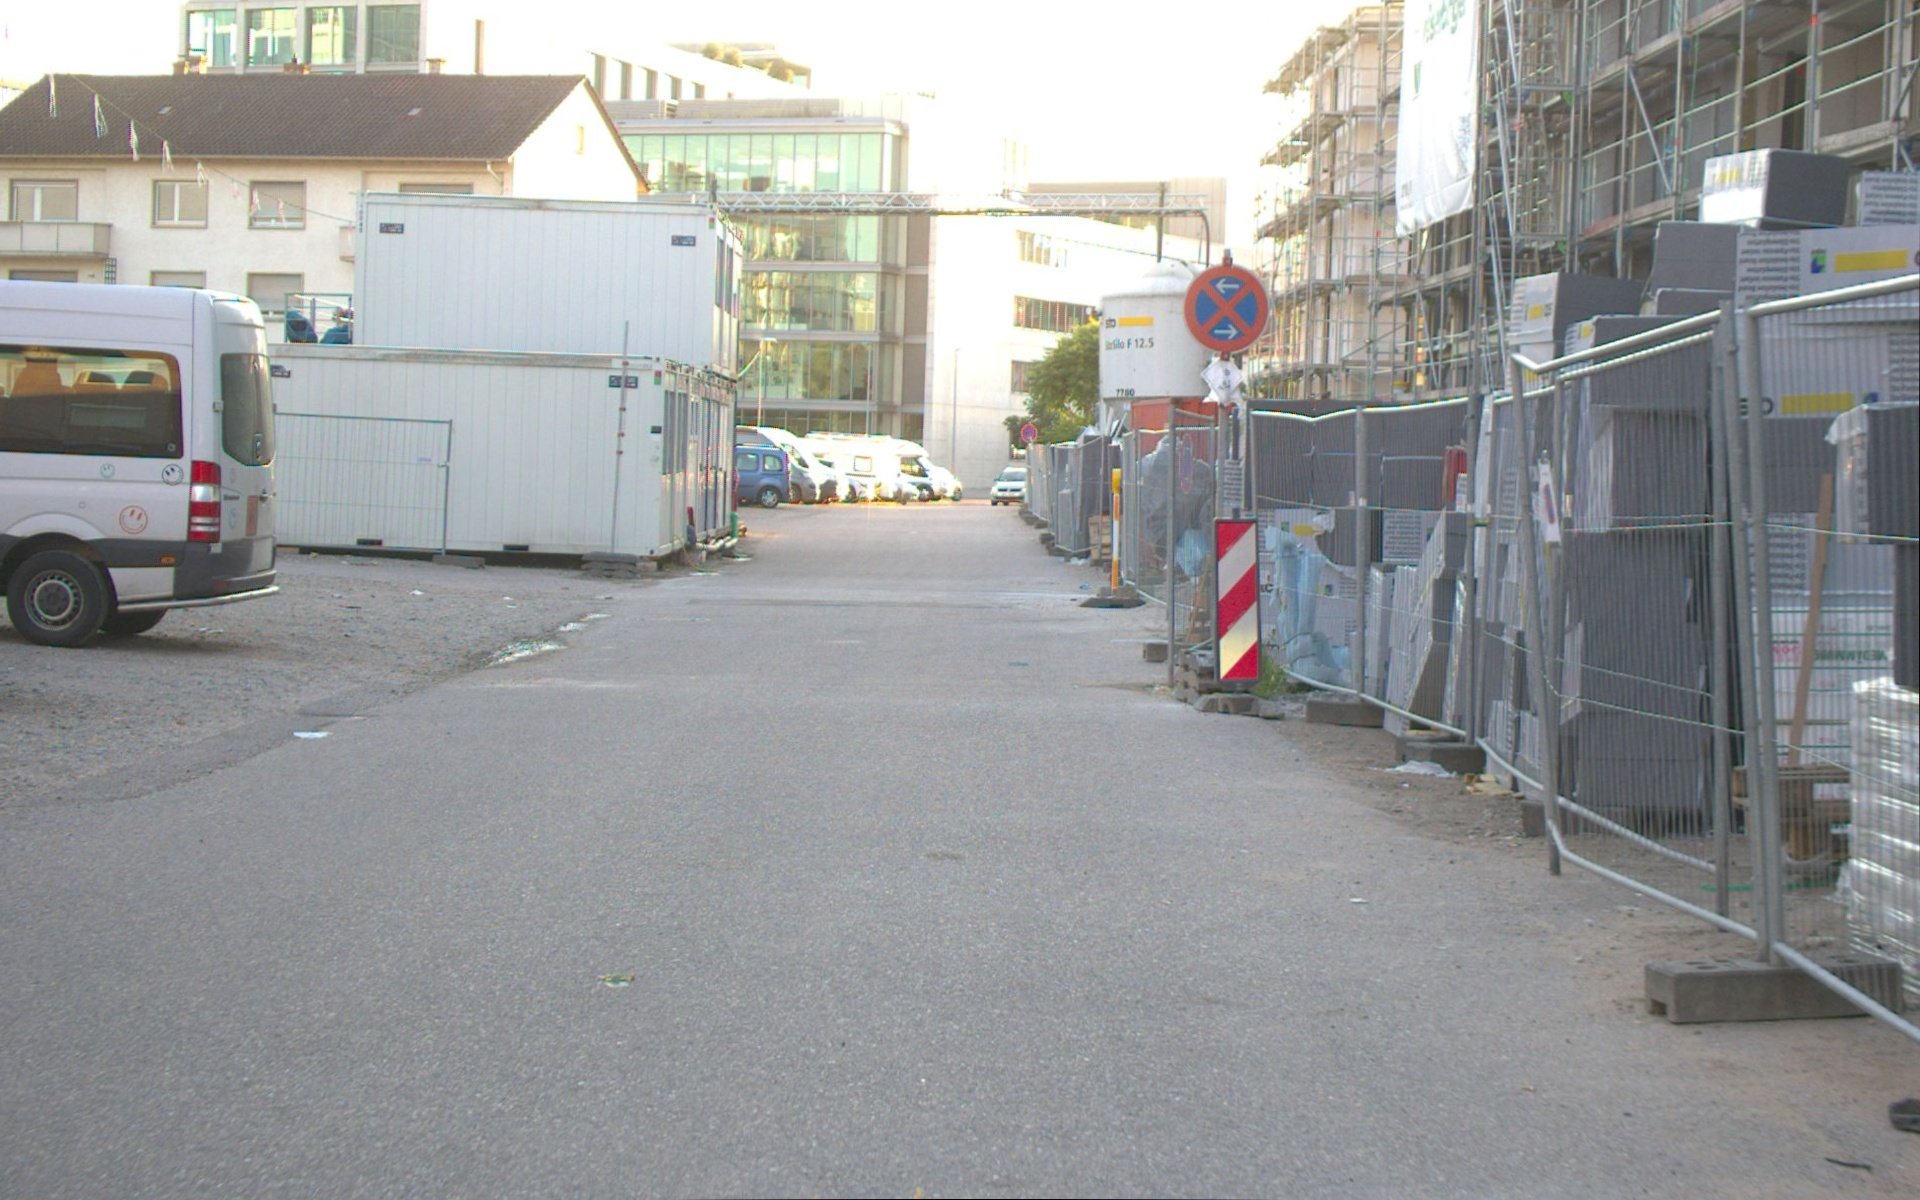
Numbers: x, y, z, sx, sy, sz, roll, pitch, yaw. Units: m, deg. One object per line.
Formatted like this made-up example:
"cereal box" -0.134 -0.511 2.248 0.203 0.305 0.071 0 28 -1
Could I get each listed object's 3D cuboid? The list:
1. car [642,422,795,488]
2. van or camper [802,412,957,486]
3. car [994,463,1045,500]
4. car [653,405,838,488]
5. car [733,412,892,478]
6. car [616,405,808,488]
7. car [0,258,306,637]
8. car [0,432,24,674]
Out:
"car" -7.270 -4.347 103.207 4.503 1.862 2.001 1 2 -5
"van or camper" -3.505 -6.592 150.060 6.336 2.968 2.291 3 2 13
"car" 2.556 -5.046 146.252 1.665 1.523 3.909 2 2 8
"car" -7.522 -5.393 120.995 6.328 2.731 2.000 1 2 1
"car" -5.844 -6.154 136.371 5.926 2.481 1.999 2 2 11
"car" -8.421 -5.219 117.128 6.328 2.642 2.000 1 2 1
"car" -7.989 -1.212 25.594 5.689 2.617 2.222 3 2 2
"car" -7.528 -0.344 19.708 3.836 1.424 1.728 3 2 -2
